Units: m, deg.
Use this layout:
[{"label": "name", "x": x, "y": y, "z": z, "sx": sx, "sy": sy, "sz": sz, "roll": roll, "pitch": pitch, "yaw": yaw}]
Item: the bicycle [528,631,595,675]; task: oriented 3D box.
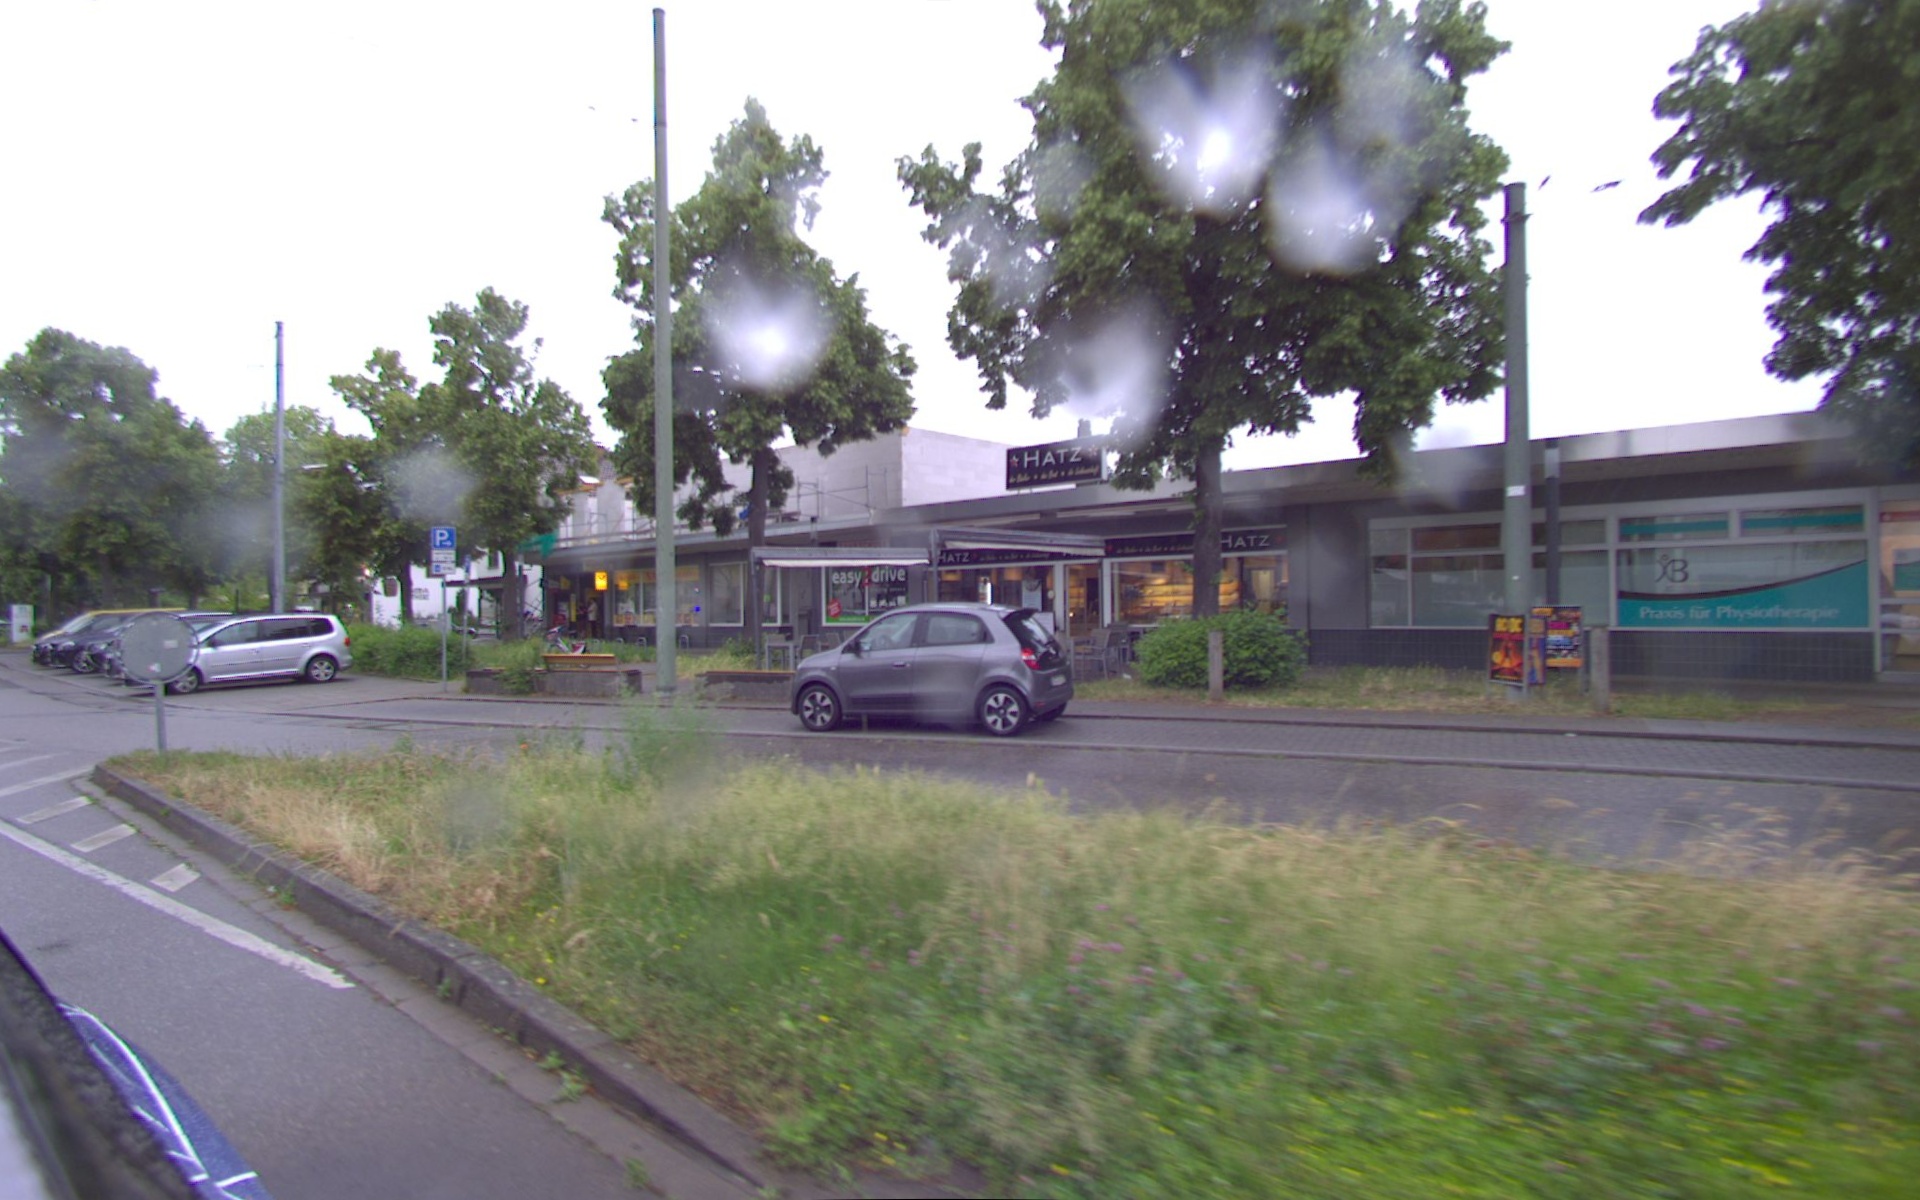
[{"label": "bicycle", "x": -10.280, "y": 1.361, "z": 26.087, "sx": 1.740, "sy": 1.080, "sz": 0.589, "roll": -1, "pitch": -2, "yaw": 25}]

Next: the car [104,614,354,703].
[{"label": "car", "x": -16.606, "y": 1.246, "z": 23.157, "sx": 1.999, "sy": 1.686, "sz": 4.280, "roll": -2, "pitch": 0, "yaw": 40}]

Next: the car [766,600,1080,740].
[{"label": "car", "x": -0.465, "y": 0.831, "z": 12.668, "sx": 3.601, "sy": 1.514, "sz": 1.539, "roll": -2, "pitch": 1, "yaw": 24}]

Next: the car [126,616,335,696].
[{"label": "car", "x": -18.108, "y": 1.335, "z": 25.250, "sx": 1.792, "sy": 1.686, "sz": 3.895, "roll": -2, "pitch": 0, "yaw": 40}]

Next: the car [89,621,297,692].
[{"label": "car", "x": -20.254, "y": 1.434, "z": 26.839, "sx": 1.999, "sy": 1.583, "sz": 4.037, "roll": -2, "pitch": 0, "yaw": 40}]

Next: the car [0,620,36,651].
[{"label": "car", "x": -63.316, "y": 2.347, "z": 65.820, "sx": 1.897, "sy": 1.957, "sz": 4.488, "roll": -2, "pitch": 0, "yaw": 40}]

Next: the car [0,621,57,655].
[{"label": "car", "x": -58.591, "y": 2.358, "z": 62.100, "sx": 1.897, "sy": 1.957, "sz": 4.488, "roll": -2, "pitch": 0, "yaw": 40}]

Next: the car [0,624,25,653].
[{"label": "car", "x": -68.677, "y": 2.794, "z": 70.908, "sx": 1.898, "sy": 1.957, "sz": 4.488, "roll": -2, "pitch": 0, "yaw": 41}]

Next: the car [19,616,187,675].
[{"label": "car", "x": -30.223, "y": 1.555, "z": 35.793, "sx": 1.897, "sy": 1.823, "sz": 4.248, "roll": -2, "pitch": 0, "yaw": 40}]

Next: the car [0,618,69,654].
[{"label": "car", "x": -55.395, "y": 2.125, "z": 59.354, "sx": 1.897, "sy": 1.957, "sz": 4.488, "roll": -2, "pitch": 0, "yaw": 40}]

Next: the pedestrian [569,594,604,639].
[{"label": "pedestrian", "x": -14.695, "y": 0.636, "z": 39.860, "sx": 1.063, "sy": 1.727, "sz": 0.950, "roll": 0, "pitch": 0, "yaw": -38}]

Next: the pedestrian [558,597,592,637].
[{"label": "pedestrian", "x": -15.549, "y": 0.686, "z": 40.831, "sx": 1.063, "sy": 1.596, "sz": 0.950, "roll": 0, "pitch": 0, "yaw": -38}]

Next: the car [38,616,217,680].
[{"label": "car", "x": -25.959, "y": 1.447, "z": 31.661, "sx": 1.897, "sy": 1.722, "sz": 4.037, "roll": -2, "pitch": 0, "yaw": 40}]

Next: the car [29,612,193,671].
[{"label": "car", "x": -32.071, "y": 1.529, "z": 38.352, "sx": 1.897, "sy": 1.957, "sz": 4.488, "roll": -2, "pitch": 0, "yaw": 40}]

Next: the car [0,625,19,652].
[{"label": "car", "x": -70.696, "y": 2.850, "z": 72.559, "sx": 1.897, "sy": 1.957, "sz": 4.488, "roll": -2, "pitch": 0, "yaw": 40}]

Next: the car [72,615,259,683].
[{"label": "car", "x": -23.426, "y": 1.400, "z": 29.929, "sx": 1.897, "sy": 1.722, "sz": 4.037, "roll": -2, "pitch": 0, "yaw": 40}]

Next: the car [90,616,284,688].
[{"label": "car", "x": -21.738, "y": 1.400, "z": 28.576, "sx": 1.897, "sy": 1.722, "sz": 4.037, "roll": -2, "pitch": 0, "yaw": 40}]
